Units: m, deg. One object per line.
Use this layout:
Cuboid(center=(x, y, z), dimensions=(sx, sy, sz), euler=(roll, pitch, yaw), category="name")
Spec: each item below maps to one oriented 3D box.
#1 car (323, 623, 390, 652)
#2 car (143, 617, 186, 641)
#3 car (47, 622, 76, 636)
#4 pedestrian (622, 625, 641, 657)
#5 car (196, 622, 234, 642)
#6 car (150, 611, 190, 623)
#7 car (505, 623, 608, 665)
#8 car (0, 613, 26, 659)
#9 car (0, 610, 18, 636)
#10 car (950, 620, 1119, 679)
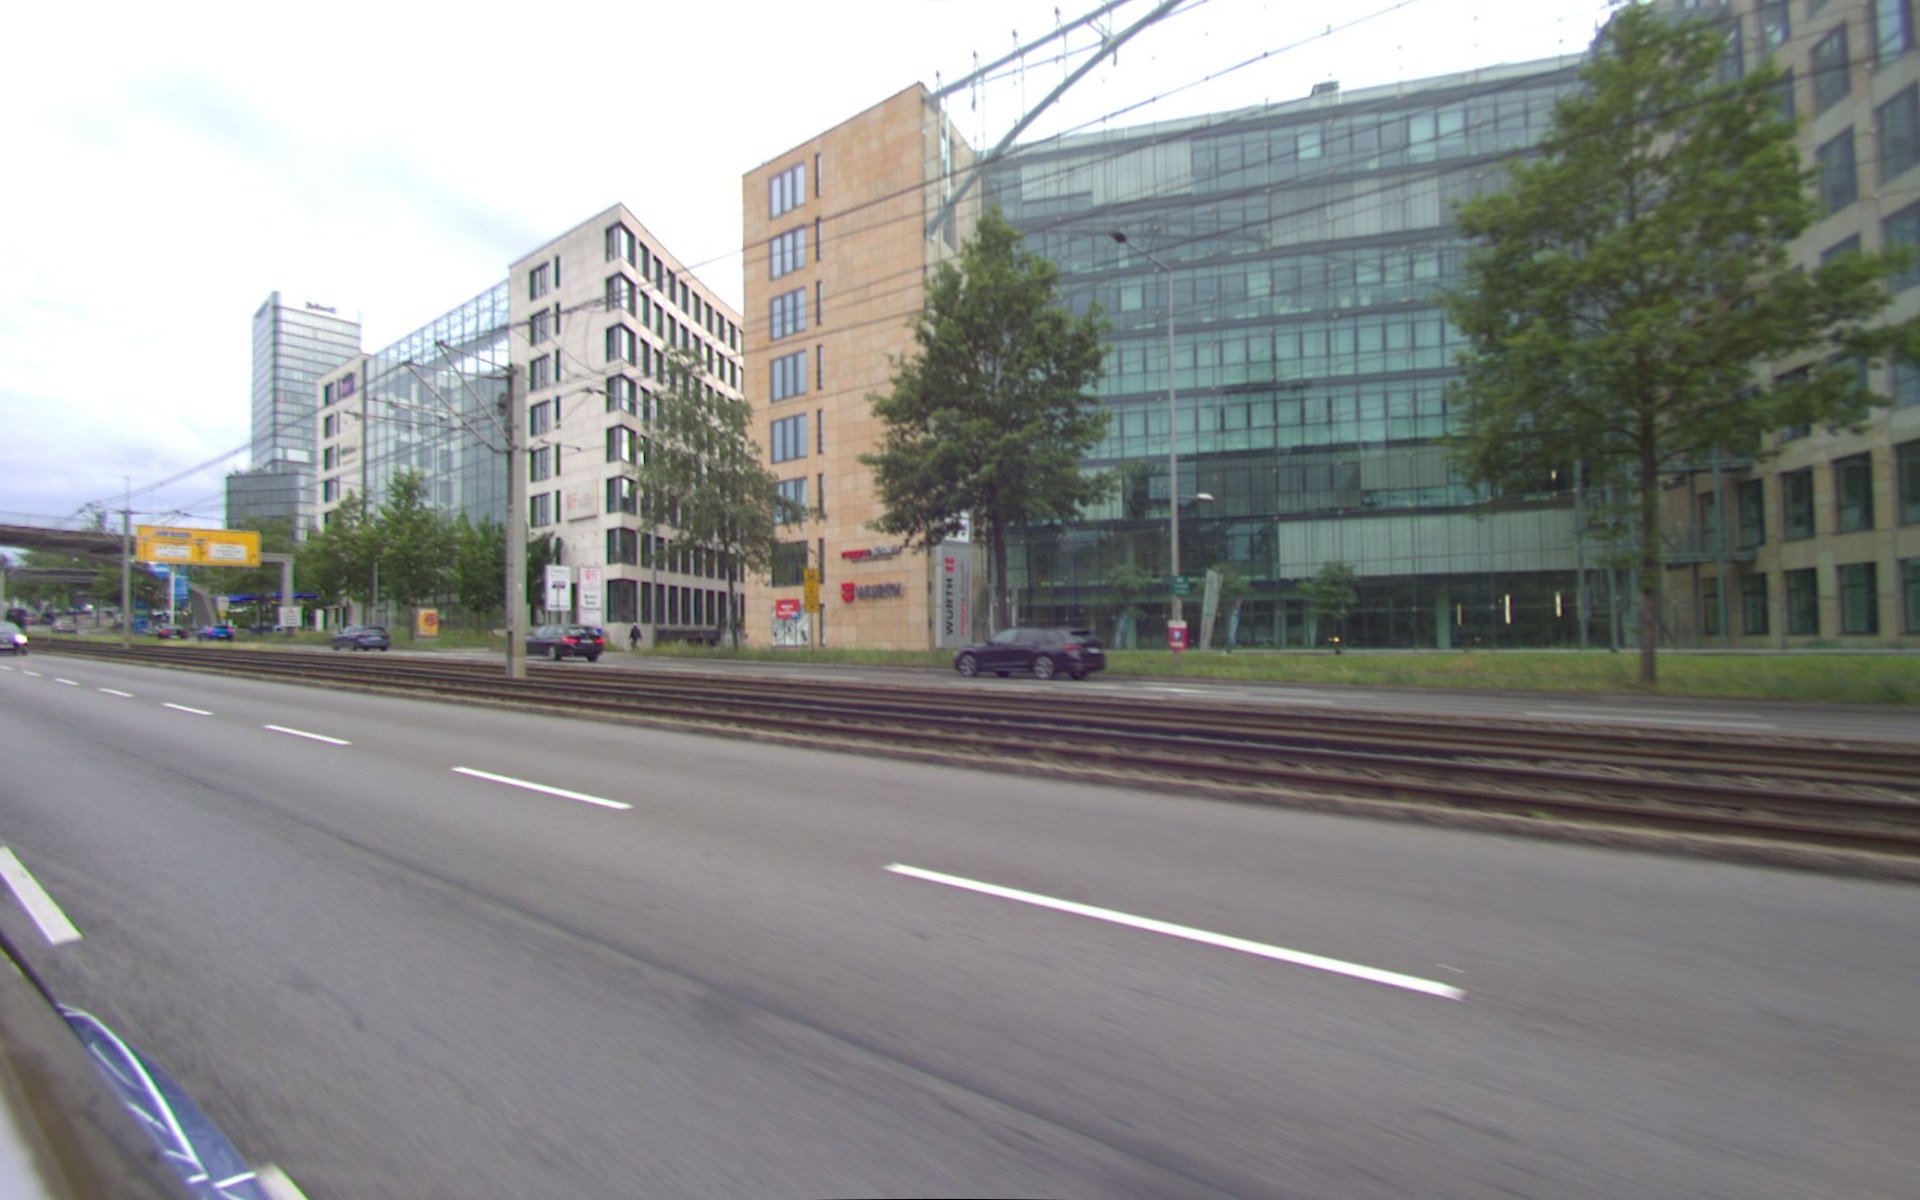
Cuboid(center=(-33.631, 2.102, 56.339), dimensions=(4.651, 1.497, 1.821), euler=(-2, -5, 41), category="car")
Cuboid(center=(-56.890, 2.061, 72.362), dimensions=(4.200, 1.513, 1.753), euler=(1, 1, 43), category="car")
Cuboid(center=(-100.709, 3.220, 113.399), dimensions=(4.813, 1.545, 1.742), euler=(-1, 0, 40), category="car")
Cuboid(center=(-17.957, 2.236, 55.401), dimensions=(0.831, 1.643, 0.635), euler=(1, 1, 38), category="pedestrian")
Cuboid(center=(-62.724, 2.640, 85.191), dimensions=(4.023, 1.465, 1.822), euler=(1, 1, 41), category="car")
Cuboid(center=(-114.081, 2.441, 146.111), dimensions=(1.885, 1.515, 4.306), euler=(1, 1, 43), category="car")
Cuboid(center=(-15.868, 1.723, 39.696), dimensions=(4.651, 1.497, 1.821), euler=(-2, -5, 41), category="car")
Cuboid(center=(-43.632, 1.615, 45.673), dimensions=(4.376, 1.882, 1.770), euler=(1, 1, 42), category="car")
Cuboid(center=(-110.051, 2.606, 115.923), dimensions=(5.606, 2.838, 2.360), euler=(-1, 0, 40), category="car")
Cuboid(center=(1.976, 1.358, 27.817), dimensions=(4.428, 1.497, 1.821), euler=(-2, -5, 41), category="car")
